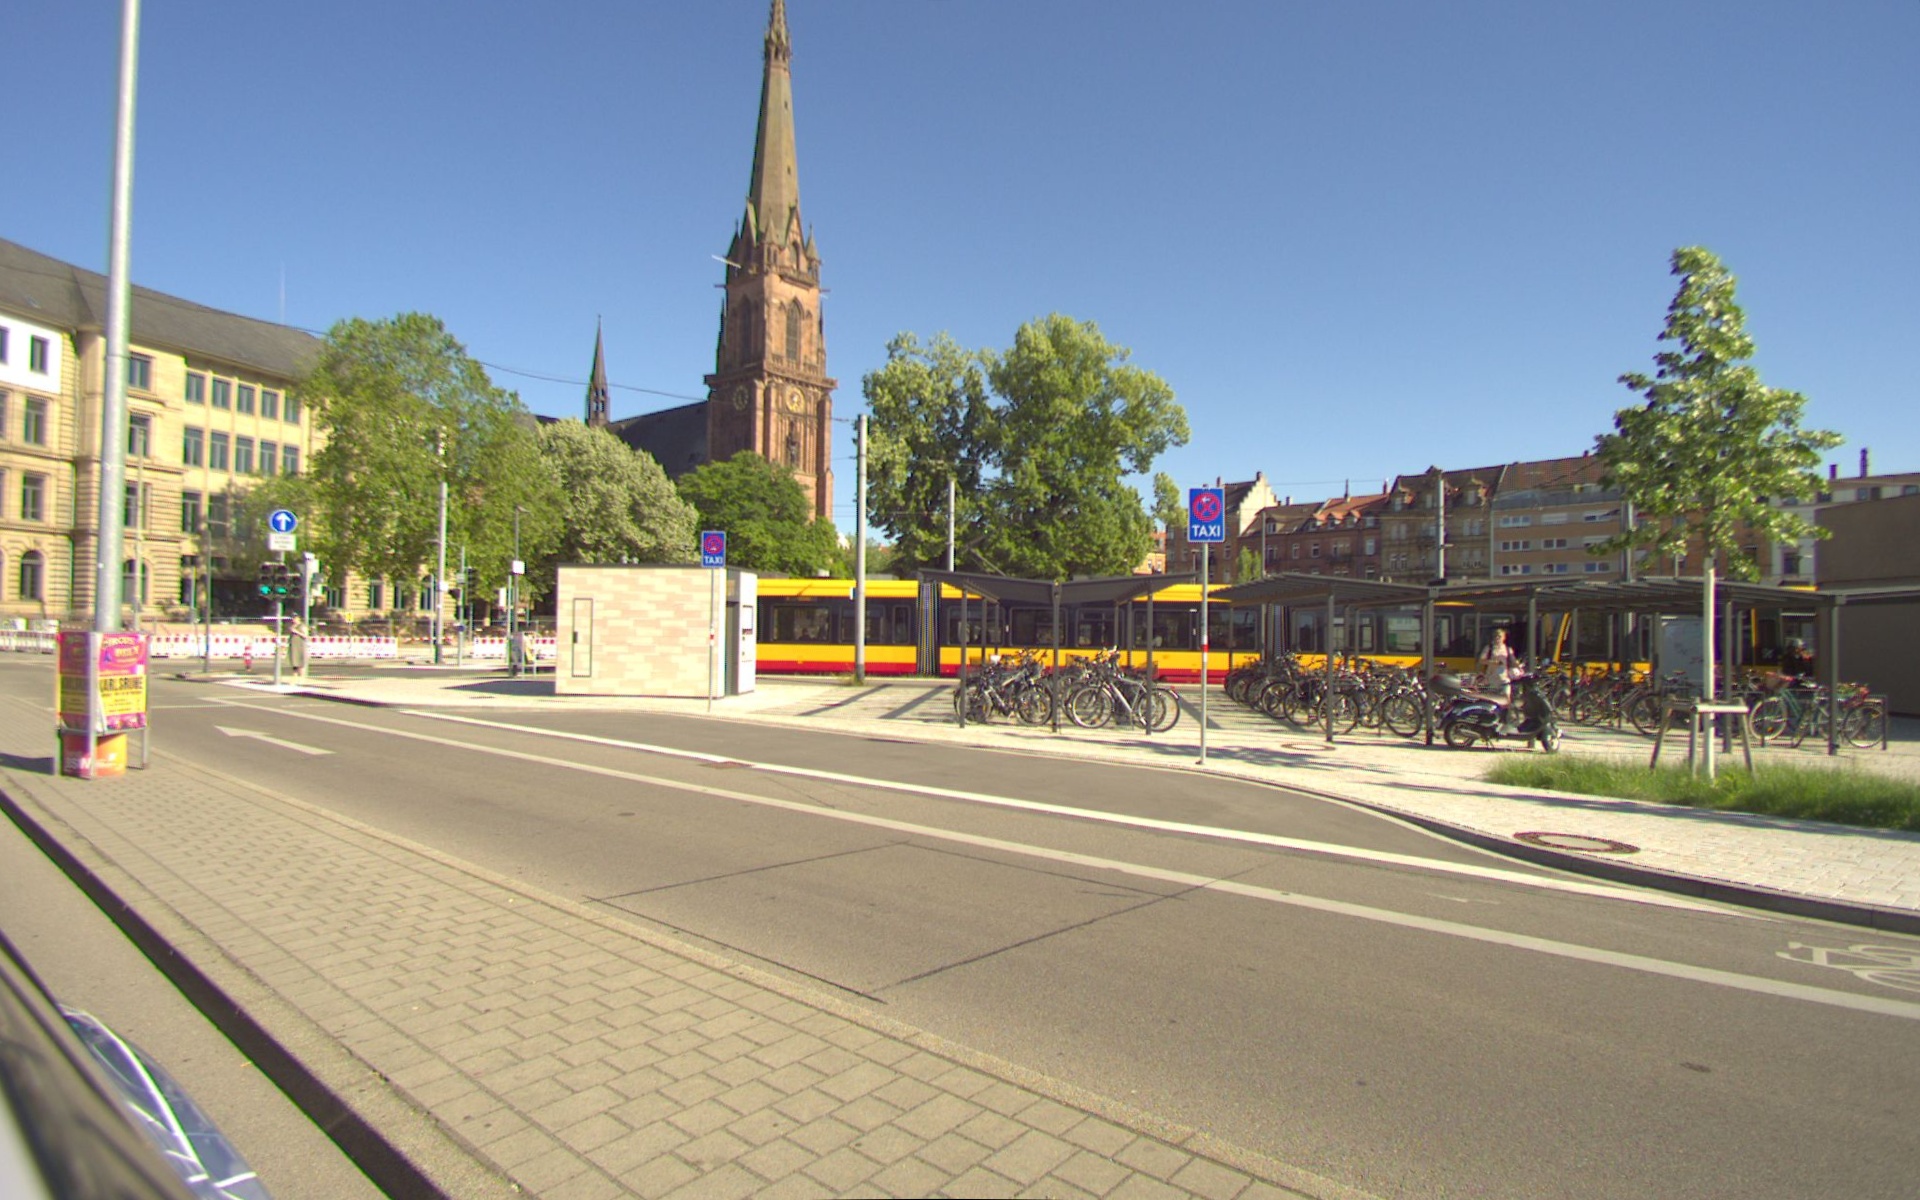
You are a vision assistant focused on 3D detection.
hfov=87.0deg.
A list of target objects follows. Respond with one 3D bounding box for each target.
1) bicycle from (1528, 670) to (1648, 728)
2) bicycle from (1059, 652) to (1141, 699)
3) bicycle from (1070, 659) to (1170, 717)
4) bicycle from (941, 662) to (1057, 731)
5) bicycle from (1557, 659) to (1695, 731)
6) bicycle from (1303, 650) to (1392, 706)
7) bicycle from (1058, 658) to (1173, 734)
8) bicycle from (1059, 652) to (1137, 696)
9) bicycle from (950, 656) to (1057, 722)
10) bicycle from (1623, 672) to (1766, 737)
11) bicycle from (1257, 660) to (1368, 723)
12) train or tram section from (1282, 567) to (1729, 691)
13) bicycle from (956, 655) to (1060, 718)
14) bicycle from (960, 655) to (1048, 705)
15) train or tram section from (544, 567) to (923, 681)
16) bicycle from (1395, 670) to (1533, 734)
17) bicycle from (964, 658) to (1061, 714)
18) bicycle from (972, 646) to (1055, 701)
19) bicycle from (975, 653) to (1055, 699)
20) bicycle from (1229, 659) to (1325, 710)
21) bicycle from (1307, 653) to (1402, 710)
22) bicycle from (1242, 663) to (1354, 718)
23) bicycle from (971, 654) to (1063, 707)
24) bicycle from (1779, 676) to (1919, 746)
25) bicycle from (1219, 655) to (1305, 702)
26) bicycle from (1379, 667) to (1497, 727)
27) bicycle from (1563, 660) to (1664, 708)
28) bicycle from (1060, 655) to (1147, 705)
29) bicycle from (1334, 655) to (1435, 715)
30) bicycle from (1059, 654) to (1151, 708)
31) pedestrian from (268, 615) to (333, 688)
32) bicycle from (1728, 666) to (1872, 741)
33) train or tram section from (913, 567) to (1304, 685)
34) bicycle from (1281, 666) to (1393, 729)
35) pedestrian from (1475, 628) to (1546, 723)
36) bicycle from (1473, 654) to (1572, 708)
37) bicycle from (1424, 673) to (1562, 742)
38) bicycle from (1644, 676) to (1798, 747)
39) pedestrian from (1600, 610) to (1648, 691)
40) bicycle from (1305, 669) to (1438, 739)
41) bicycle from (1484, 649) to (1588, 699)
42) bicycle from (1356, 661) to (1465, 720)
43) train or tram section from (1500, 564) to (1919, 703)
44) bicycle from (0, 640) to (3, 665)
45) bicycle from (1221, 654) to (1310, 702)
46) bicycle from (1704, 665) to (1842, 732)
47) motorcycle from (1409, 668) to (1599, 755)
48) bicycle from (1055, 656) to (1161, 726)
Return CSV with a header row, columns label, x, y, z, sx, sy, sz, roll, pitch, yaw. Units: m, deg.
label,x,y,z,sx,sy,sz,roll,pitch,yaw
bicycle,11.919,1.867,19.250,1.809,1.015,0.627,0,-2,9
bicycle,3.167,1.706,23.019,1.808,1.015,0.627,0,-2,7
bicycle,2.978,1.634,18.950,1.808,1.015,0.745,0,-2,7
bicycle,0.662,1.581,16.773,1.847,1.015,0.699,2,-2,9
bicycle,11.954,1.697,18.211,2.029,1.218,0.505,0,-2,8
bicycle,8.893,1.785,23.286,1.808,1.242,0.627,0,-2,7
bicycle,2.522,1.553,16.543,1.808,1.167,0.627,1,-2,7
bicycle,3.289,1.763,24.218,1.808,1.015,0.627,0,-2,7
bicycle,0.773,1.537,17.646,1.809,1.074,0.627,0,-2,9
bicycle,12.260,1.734,16.935,1.872,1.004,0.499,0,-2,13
bicycle,6.533,1.679,18.820,1.859,1.101,0.626,0,-2,8
train or tram section,16.744,0.873,31.929,12.174,3.629,2.828,0,-2,6
bicycle,0.870,1.544,18.175,1.809,1.059,0.571,0,-2,9
bicycle,0.946,1.694,21.580,1.809,1.015,0.627,0,-2,9
train or tram section,-7.575,0.797,34.512,12.382,3.629,2.796,0,-2,6
bicycle,8.576,1.725,17.286,2.003,1.015,0.627,0,-2,7
bicycle,1.018,1.636,19.394,1.809,1.015,0.627,0,-2,9
bicycle,1.219,1.651,22.824,1.809,1.188,0.627,0,-2,9
bicycle,1.276,1.755,23.524,1.809,1.015,0.627,0,-2,9
bicycle,6.626,1.756,21.215,1.805,1.015,0.629,0,-2,0
bicycle,8.585,1.766,22.088,1.808,1.198,0.647,0,-2,7
bicycle,6.606,1.759,19.841,1.978,1.015,0.628,0,-2,4
bicycle,1.169,1.617,20.549,1.809,1.015,0.627,0,-2,9
bicycle,13.677,1.685,15.487,1.803,1.015,0.629,1,-2,-3
bicycle,6.908,1.787,23.208,1.808,1.015,0.627,0,-2,6
bicycle,8.657,1.744,18.380,1.808,1.015,0.627,0,-2,7
bicycle,14.710,1.877,22.816,1.808,1.015,0.627,0,-2,7
bicycle,3.034,1.689,21.532,1.808,1.015,0.627,0,-2,7
bicycle,8.768,1.744,20.937,1.808,1.170,0.627,0,-2,7
bicycle,2.886,1.610,20.258,1.808,1.015,0.627,0,-2,7
pedestrian,-17.402,1.336,26.713,0.827,1.869,1.213,-1,-2,39
bicycle,13.648,1.679,16.474,1.805,1.155,0.629,0,-2,0
train or tram section,4.675,0.828,33.220,12.174,3.629,2.796,0,-2,6
bicycle,6.510,1.681,17.542,1.731,1.015,0.547,0,-2,10
pedestrian,10.304,1.387,18.969,0.829,1.718,1.022,0,-2,7
bicycle,12.658,1.812,22.813,1.809,1.140,0.627,0,-2,9
bicycle,8.425,1.697,16.060,1.808,1.015,0.627,0,-2,7
bicycle,11.816,1.714,15.759,1.809,1.015,0.627,0,-2,9
pedestrian,15.784,1.192,24.047,0.700,1.869,0.751,2,-2,-38
bicycle,6.634,1.671,16.388,1.871,1.050,0.688,0,-2,9
bicycle,12.344,1.574,21.717,1.809,1.015,0.627,0,-2,9
bicycle,8.731,1.744,19.672,1.808,1.088,0.627,0,-2,7
train or tram section,22.049,0.902,28.118,12.179,3.629,2.748,0,-2,7
bicycle,-41.014,2.207,42.288,1.970,1.014,0.598,-1,0,17
bicycle,6.778,1.722,22.520,1.807,1.015,0.628,0,-2,5
bicycle,14.247,1.708,17.770,1.808,1.101,0.627,0,-2,7
motorcycle,7.825,1.596,14.643,2.333,1.167,0.610,0,-2,7
bicycle,2.566,1.576,17.685,1.808,1.157,0.627,0,-2,7
